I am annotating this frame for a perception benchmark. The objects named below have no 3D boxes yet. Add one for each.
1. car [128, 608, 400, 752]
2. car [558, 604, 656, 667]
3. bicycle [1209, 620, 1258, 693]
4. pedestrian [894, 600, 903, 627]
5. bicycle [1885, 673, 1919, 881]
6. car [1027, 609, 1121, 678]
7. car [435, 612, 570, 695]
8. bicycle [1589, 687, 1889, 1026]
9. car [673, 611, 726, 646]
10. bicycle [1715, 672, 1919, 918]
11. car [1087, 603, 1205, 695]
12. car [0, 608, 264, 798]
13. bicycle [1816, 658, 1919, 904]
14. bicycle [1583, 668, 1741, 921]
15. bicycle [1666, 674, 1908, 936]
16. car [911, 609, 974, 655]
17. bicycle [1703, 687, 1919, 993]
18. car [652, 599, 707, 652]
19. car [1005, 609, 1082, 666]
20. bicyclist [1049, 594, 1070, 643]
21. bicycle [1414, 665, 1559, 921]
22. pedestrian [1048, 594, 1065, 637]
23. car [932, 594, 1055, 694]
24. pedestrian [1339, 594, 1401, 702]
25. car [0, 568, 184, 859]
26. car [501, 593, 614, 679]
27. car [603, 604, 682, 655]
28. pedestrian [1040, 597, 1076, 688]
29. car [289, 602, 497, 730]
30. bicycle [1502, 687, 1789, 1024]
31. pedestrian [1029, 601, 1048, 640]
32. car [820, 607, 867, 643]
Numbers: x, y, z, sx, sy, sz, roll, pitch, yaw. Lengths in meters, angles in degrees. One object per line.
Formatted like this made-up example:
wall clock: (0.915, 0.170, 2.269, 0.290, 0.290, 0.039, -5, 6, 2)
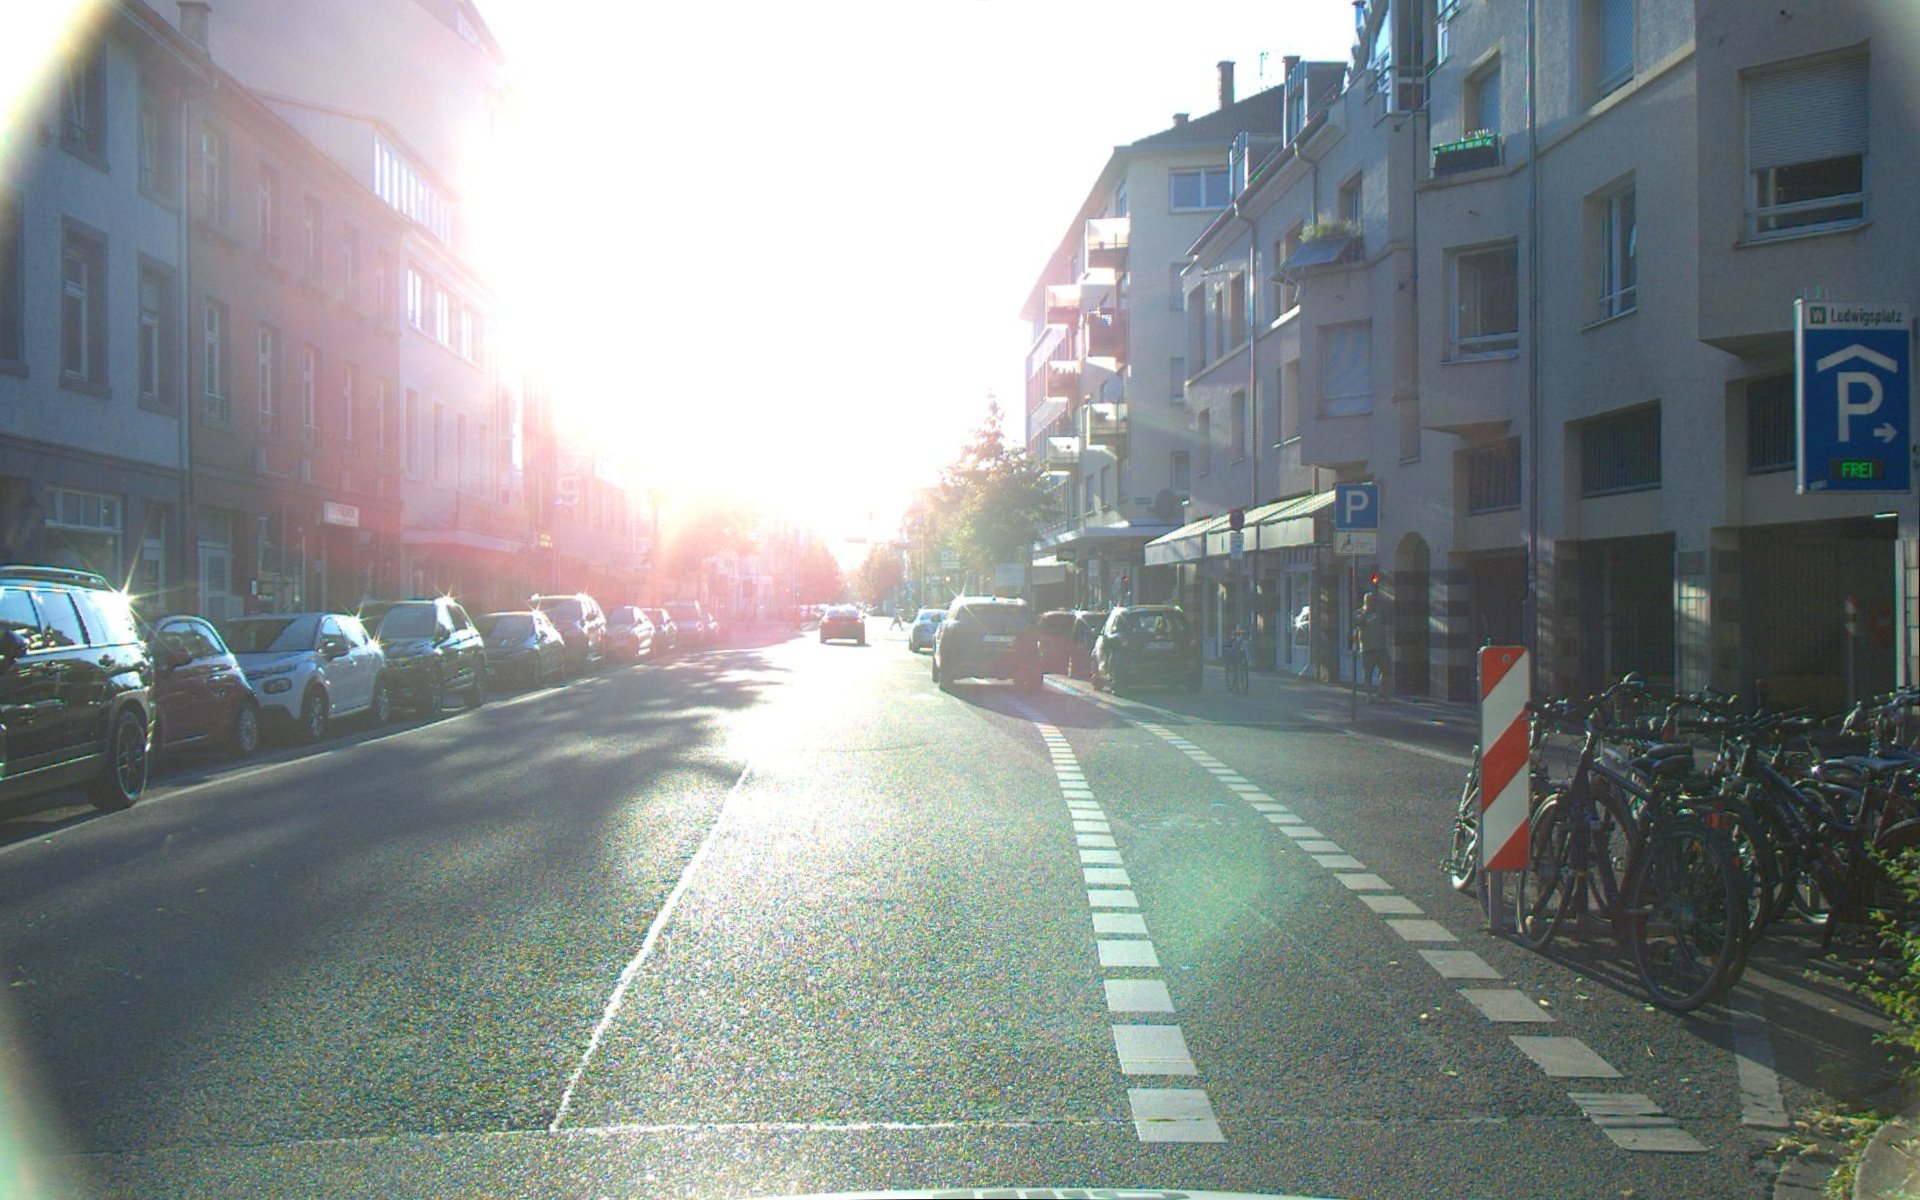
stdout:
car: (-8.191, 0.877, 19.860, 1.738, 1.541, 3.947, 0, 0, -3)
car: (-9.750, 0.940, 46.100, 1.791, 1.583, 5.133, -2, 0, -3)
bicycle: (4.931, 0.994, 29.867, 0.389, 1.256, 1.823, -1, 0, -6)
pedestrian: (-4.037, 0.888, 108.378, 0.488, 1.745, 0.459, 0, 0, -23)
bicycle: (5.469, 0.963, 8.535, 0.374, 1.119, 1.521, 0, -1, -7)
car: (2.512, 0.946, 37.179, 1.601, 1.449, 3.754, -1, 0, -4)
car: (-8.999, 1.008, 32.859, 1.679, 1.465, 4.306, -2, 0, -3)
bicycle: (3.115, 0.968, 6.755, 0.374, 1.119, 1.521, 0, 1, -6)
car: (-10.583, 1.156, 67.521, 1.797, 1.351, 4.120, 0, 0, -4)
bicycle: (4.564, 0.965, 8.675, 0.374, 1.119, 1.521, 0, -1, -6)
car: (3.376, 0.852, 30.342, 1.601, 1.581, 2.691, -1, 0, -6)
car: (-8.101, 0.890, 15.507, 1.738, 1.541, 3.482, -3, 0, -3)
bicycle: (5.005, 0.922, 8.406, 0.374, 1.210, 1.521, 1, -1, -7)
bicycle: (3.589, 0.946, 8.548, 0.363, 1.127, 1.524, 0, 0, 8)
bicycle: (4.099, 0.965, 8.308, 0.374, 1.119, 1.564, 0, 0, -2)
car: (-0.641, 1.045, 55.836, 1.884, 1.440, 4.545, 2, 0, -3)
bicycle: (3.748, 0.948, 6.657, 0.377, 1.119, 1.511, 0, 0, -24)
car: (-10.376, 0.939, 61.341, 1.798, 1.887, 4.117, 0, -1, -7)
car: (2.219, 0.979, 44.796, 1.669, 1.461, 3.929, 0, 0, -3)
bicyclist: (3.499, 0.649, 58.300, 0.637, 1.732, 1.095, 0, -1, -1)
bicycle: (2.693, 0.938, 8.564, 0.355, 1.161, 1.566, 0, -1, 4)
pedestrian: (3.954, 0.628, 67.819, 0.673, 1.752, 0.717, -1, -1, 2)
car: (0.544, 0.783, 31.291, 1.955, 1.684, 4.671, 2, 0, -3)
pedestrian: (6.528, 0.758, 26.367, 0.794, 1.675, 0.606, -2, -1, 1)
car: (-6.882, 0.718, 10.866, 1.868, 1.759, 4.694, -1, 0, -8)
car: (-9.472, 0.800, 39.319, 1.792, 1.842, 5.342, -2, 0, -5)
car: (-9.924, 0.910, 52.003, 1.791, 1.464, 4.550, -2, 0, -3)
pedestrian: (1.837, 0.792, 31.072, 0.436, 1.694, 0.560, -1, 0, -28)
car: (-8.179, 0.887, 24.244, 1.738, 1.661, 4.235, -1, 0, -3)
bicycle: (2.699, 0.950, 6.668, 0.374, 1.119, 1.521, 0, 0, -6)
pedestrian: (3.237, 0.857, 68.019, 0.674, 1.586, 0.862, 0, -1, -3)
car: (-4.758, 1.014, 67.990, 1.846, 1.440, 4.322, 1, 0, -3)
